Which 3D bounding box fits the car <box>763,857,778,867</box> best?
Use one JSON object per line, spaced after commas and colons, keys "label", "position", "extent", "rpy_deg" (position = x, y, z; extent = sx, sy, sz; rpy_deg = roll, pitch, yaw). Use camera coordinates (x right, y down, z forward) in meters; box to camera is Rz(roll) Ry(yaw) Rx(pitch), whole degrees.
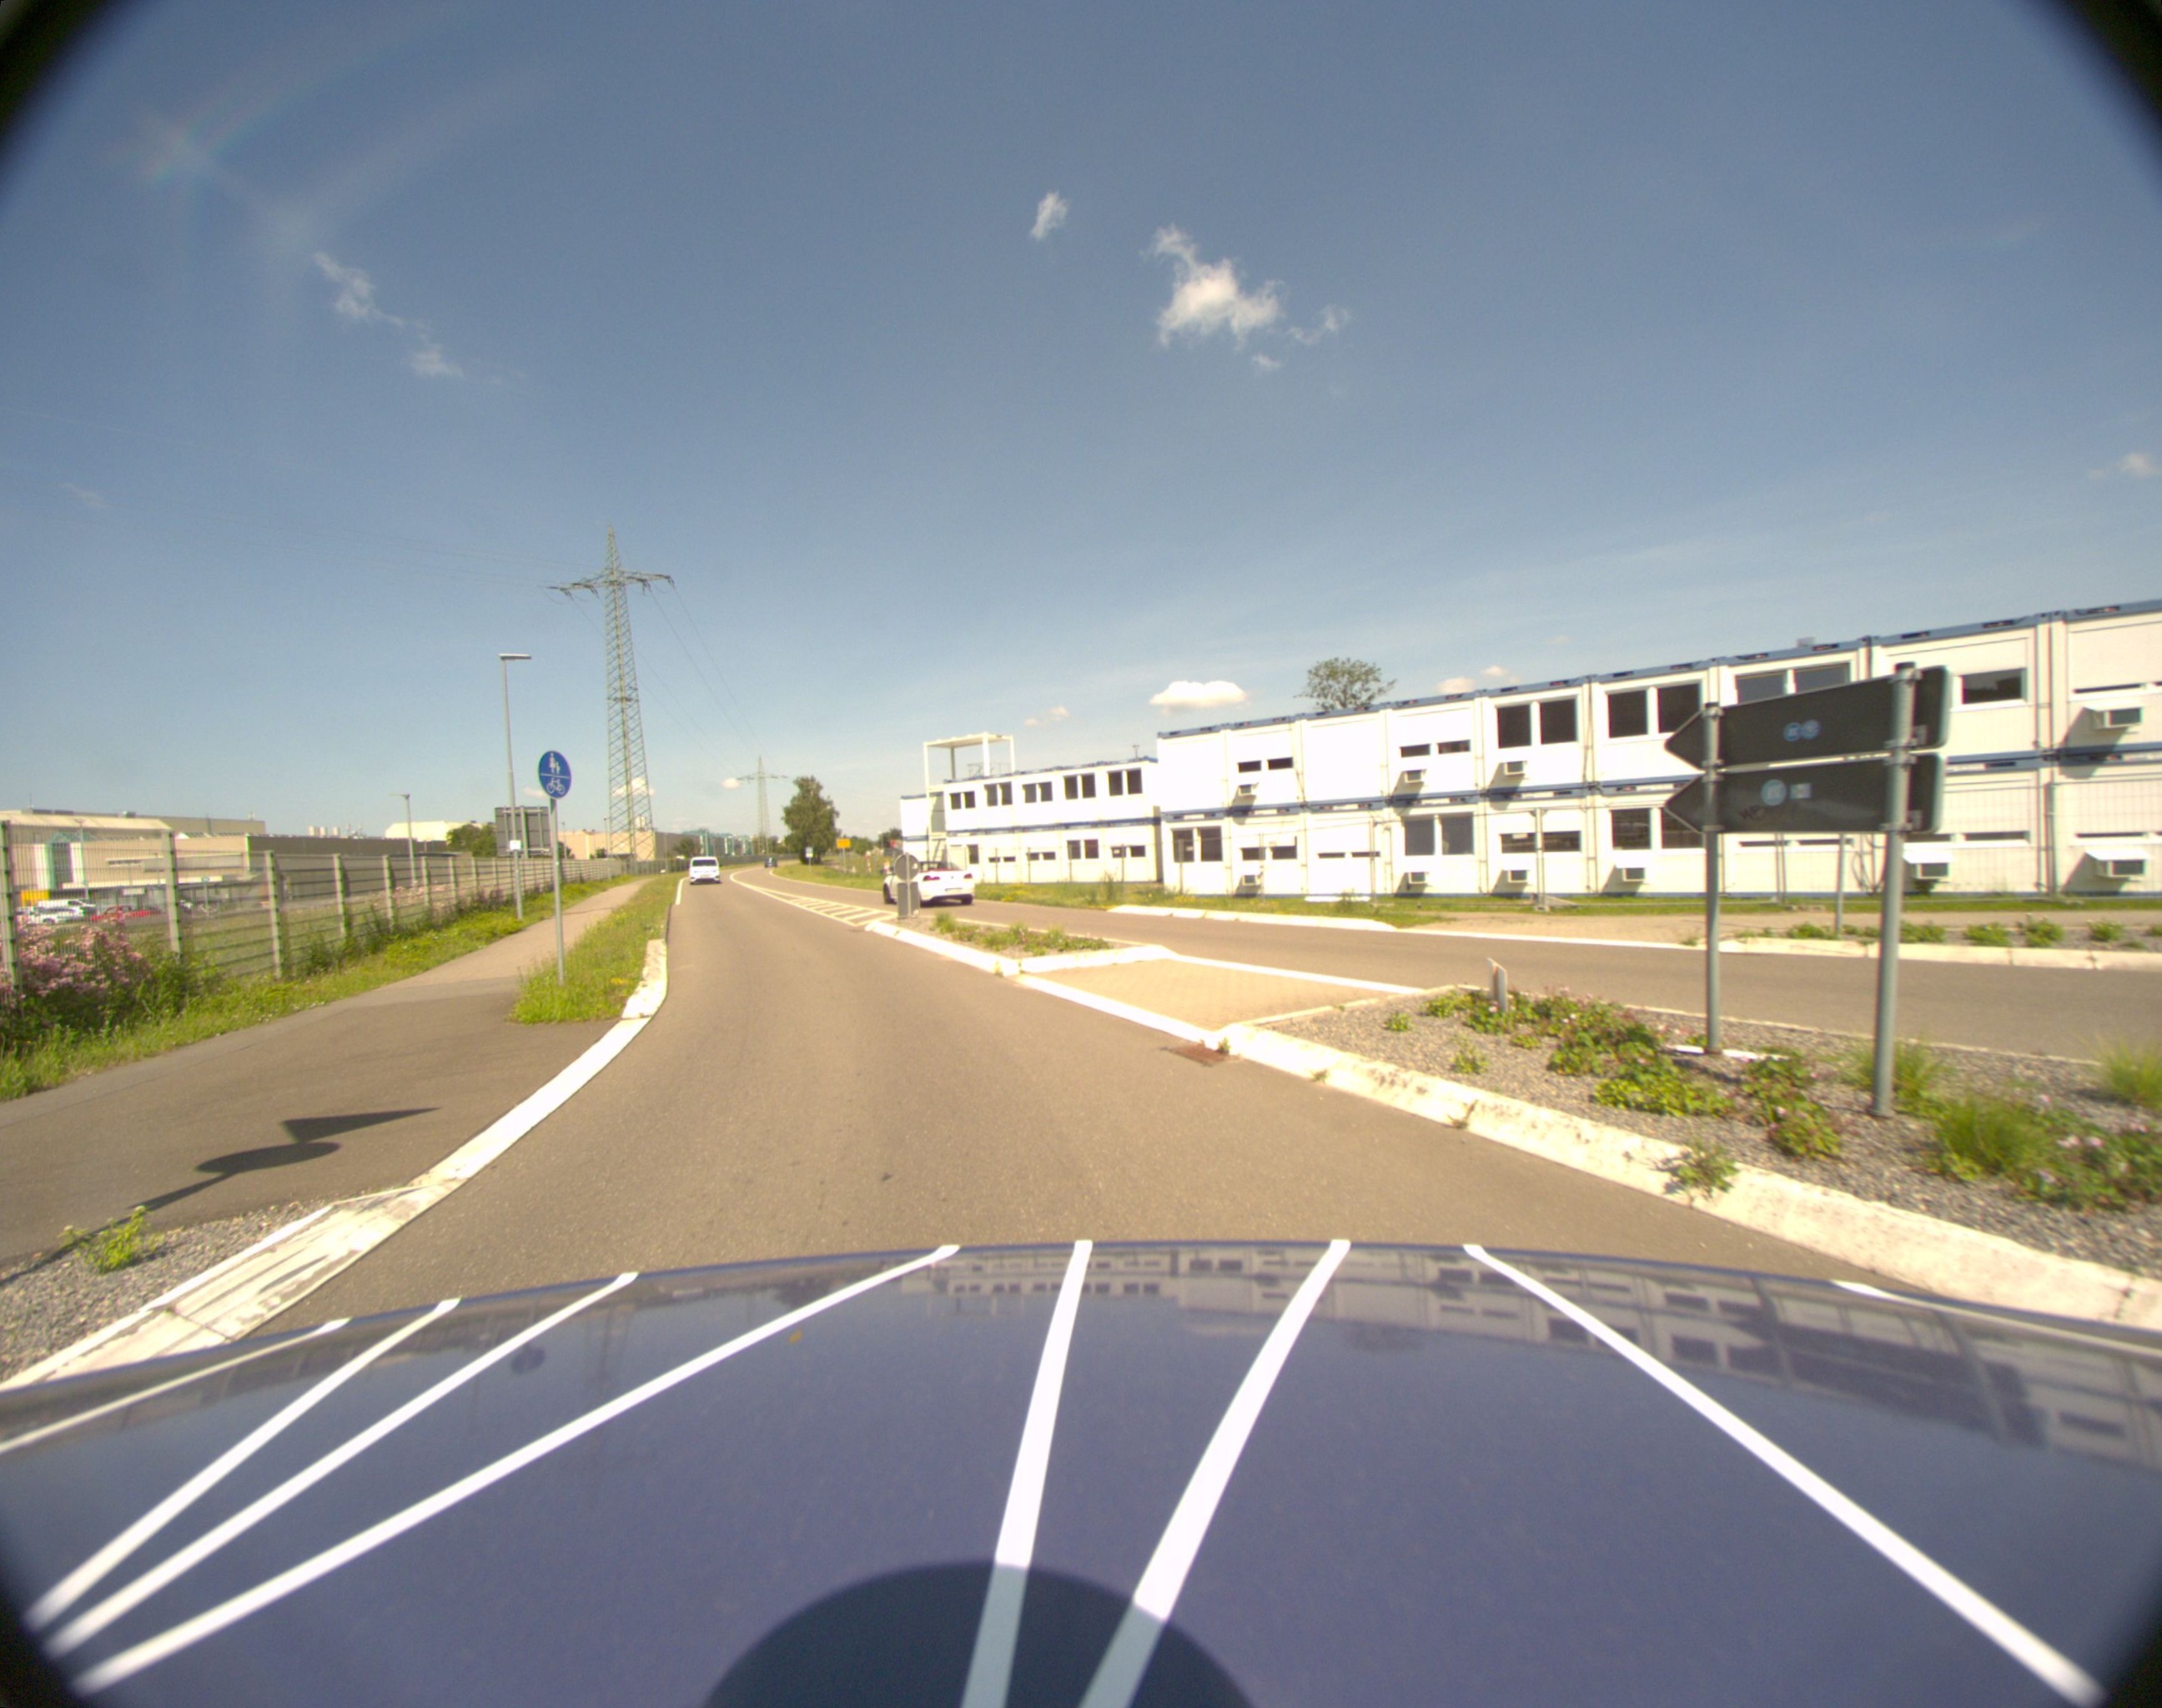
{"label": "car", "position": [-48.755, 1.241, 119.429], "extent": [1.709, 1.473, 3.993], "rpy_deg": [-2, 2, -17]}

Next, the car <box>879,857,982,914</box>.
{"label": "car", "position": [-4.765, 0.892, 23.636], "extent": [1.778, 1.420, 4.041], "rpy_deg": [-3, 3, -32]}

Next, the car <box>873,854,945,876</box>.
{"label": "car", "position": [-13.273, 0.854, 58.921], "extent": [4.993, 1.409, 1.995], "rpy_deg": [-4, 1, -36]}

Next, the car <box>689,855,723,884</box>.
{"label": "car", "position": [-24.896, 0.978, 50.468], "extent": [1.840, 1.796, 4.819], "rpy_deg": [-2, 1, -26]}

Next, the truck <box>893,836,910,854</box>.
{"label": "truck", "position": [-39.450, -2.008, 166.633], "extent": [3.113, 3.624, 10.577], "rpy_deg": [-2, 2, -15]}

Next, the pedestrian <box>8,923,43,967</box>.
{"label": "pedestrian", "position": [-42.569, 3.657, 30.658], "extent": [0.485, 1.644, 0.573], "rpy_deg": [-4, 2, -23]}

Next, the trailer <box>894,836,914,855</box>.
{"label": "trailer", "position": [-36.062, -1.812, 154.370], "extent": [3.303, 3.624, 14.902], "rpy_deg": [-2, 1, -15]}
